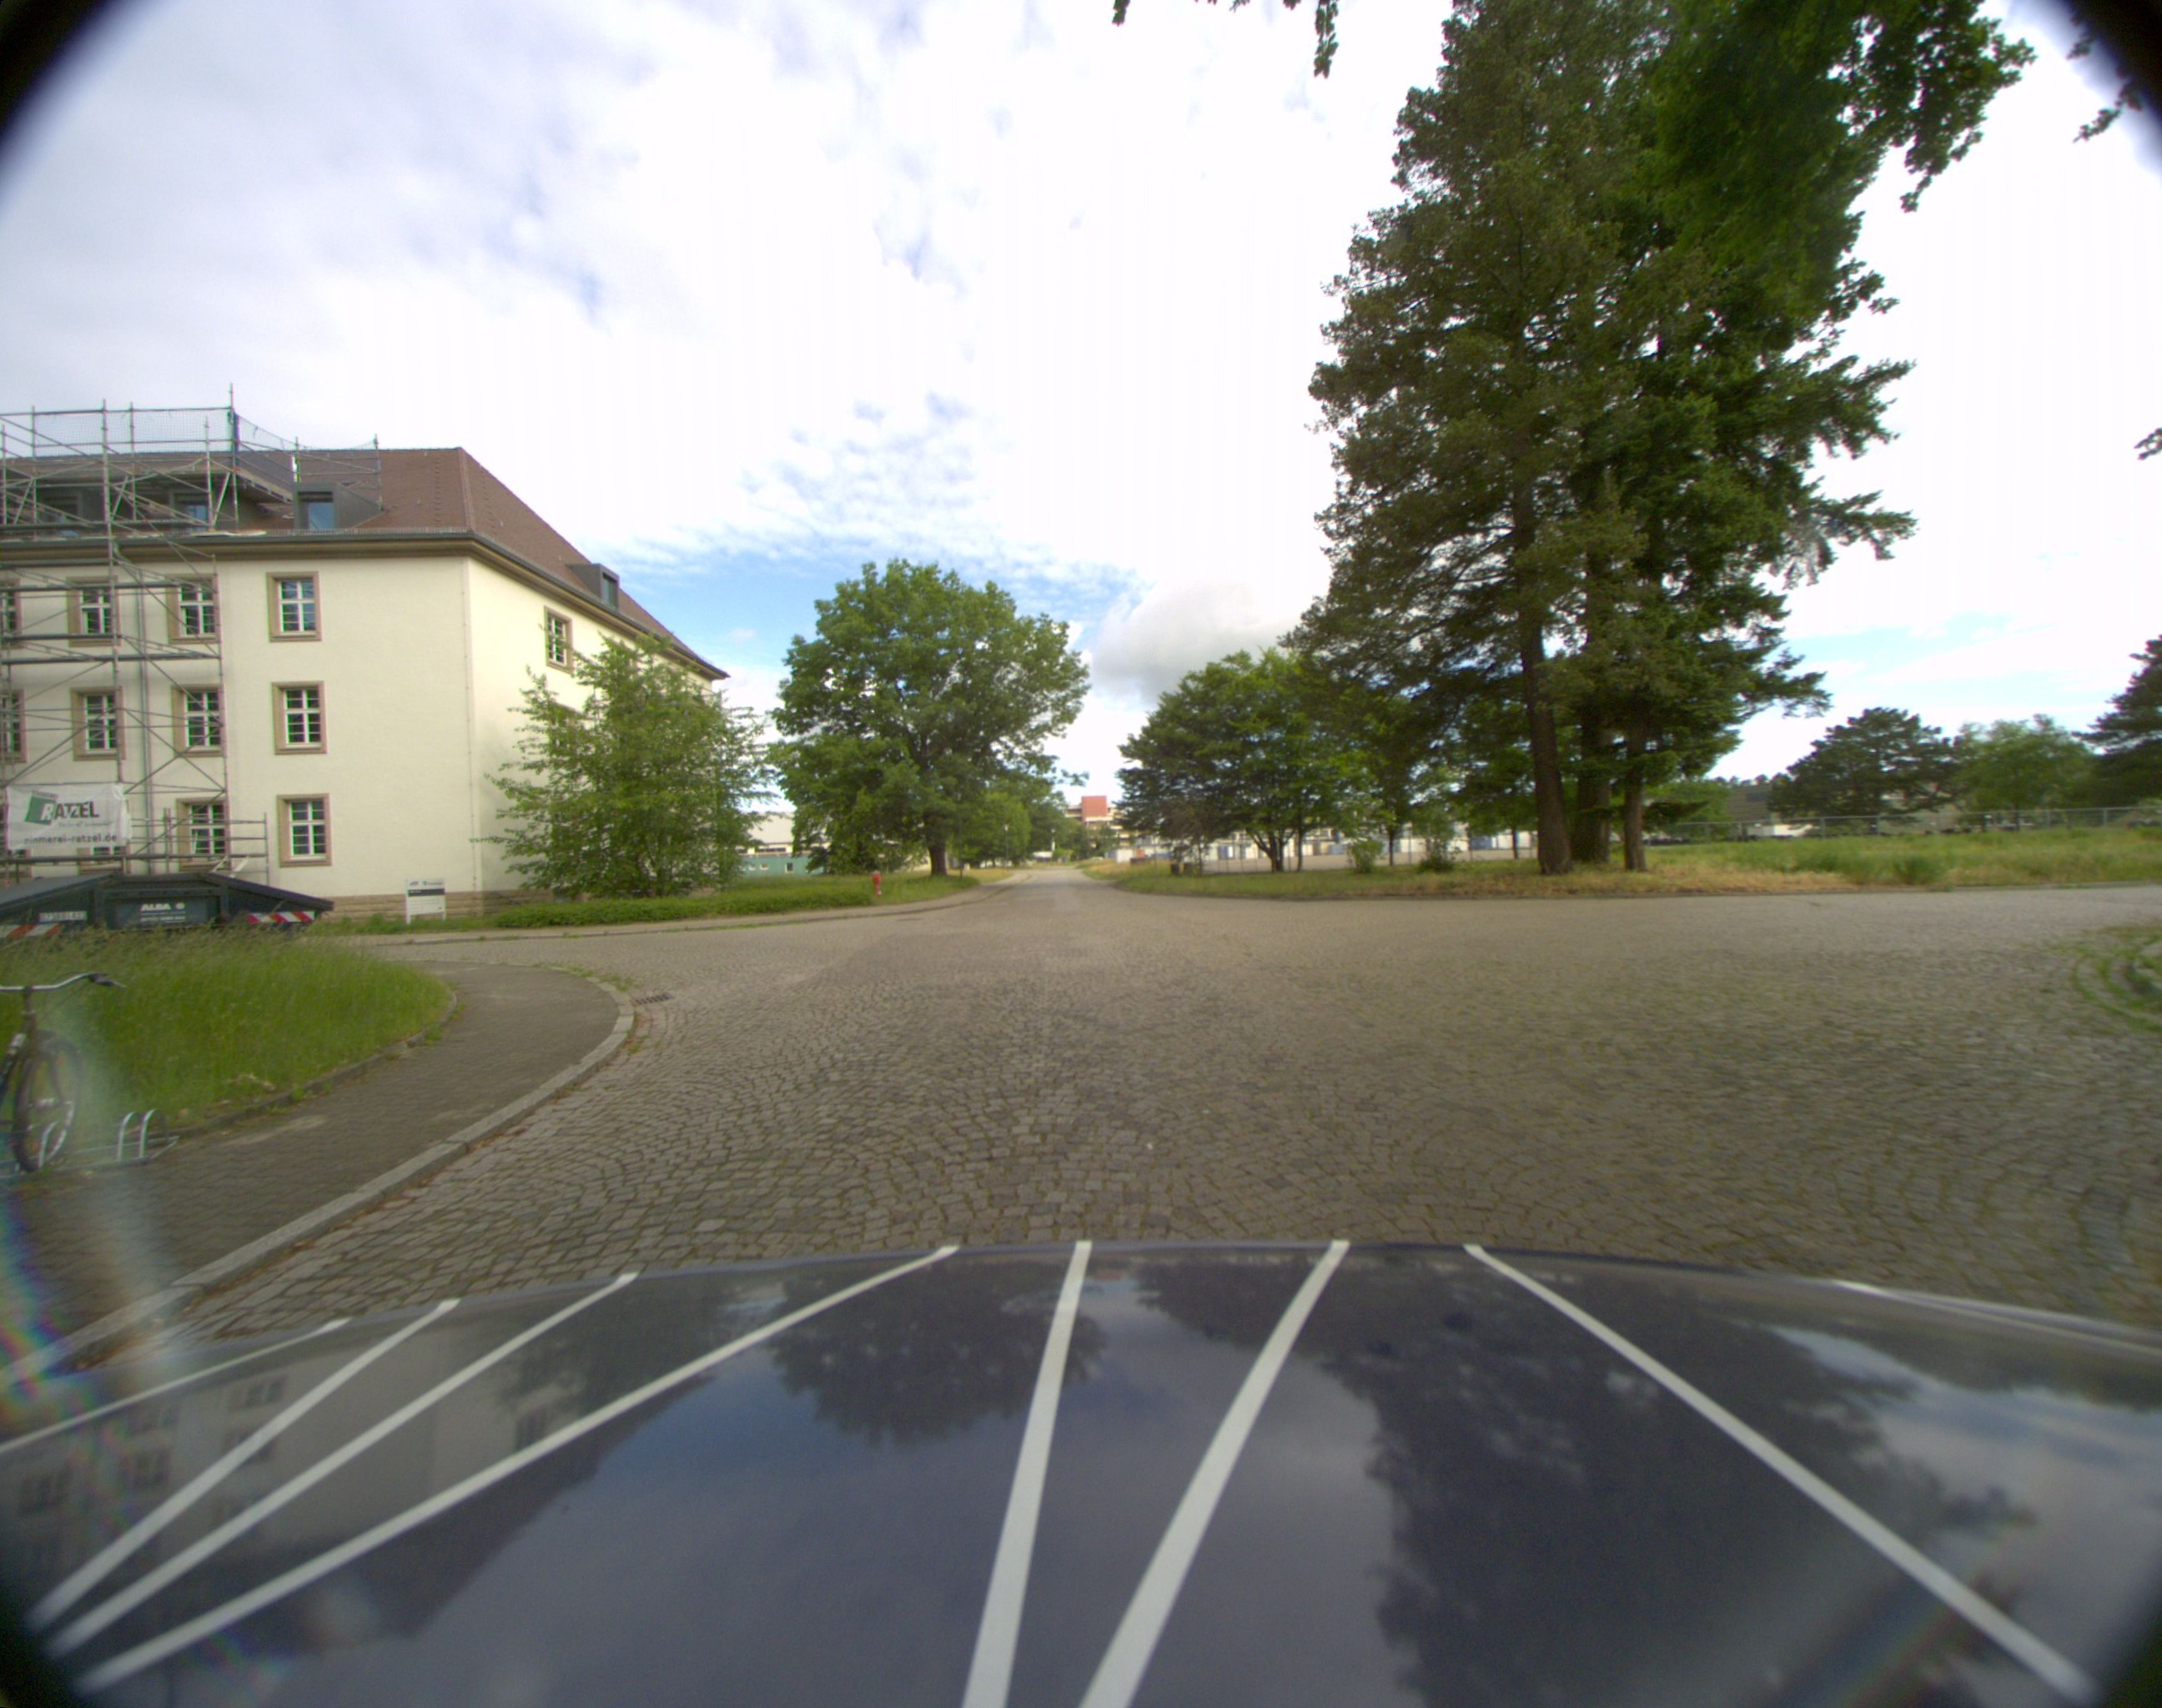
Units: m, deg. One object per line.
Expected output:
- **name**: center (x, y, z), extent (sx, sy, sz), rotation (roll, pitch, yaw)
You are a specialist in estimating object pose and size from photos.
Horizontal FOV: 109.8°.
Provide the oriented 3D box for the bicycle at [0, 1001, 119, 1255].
- **bicycle**: center (-5.281, 1.346, 3.506), extent (0.478, 1.002, 1.618), rotation (-4, 2, -32)
